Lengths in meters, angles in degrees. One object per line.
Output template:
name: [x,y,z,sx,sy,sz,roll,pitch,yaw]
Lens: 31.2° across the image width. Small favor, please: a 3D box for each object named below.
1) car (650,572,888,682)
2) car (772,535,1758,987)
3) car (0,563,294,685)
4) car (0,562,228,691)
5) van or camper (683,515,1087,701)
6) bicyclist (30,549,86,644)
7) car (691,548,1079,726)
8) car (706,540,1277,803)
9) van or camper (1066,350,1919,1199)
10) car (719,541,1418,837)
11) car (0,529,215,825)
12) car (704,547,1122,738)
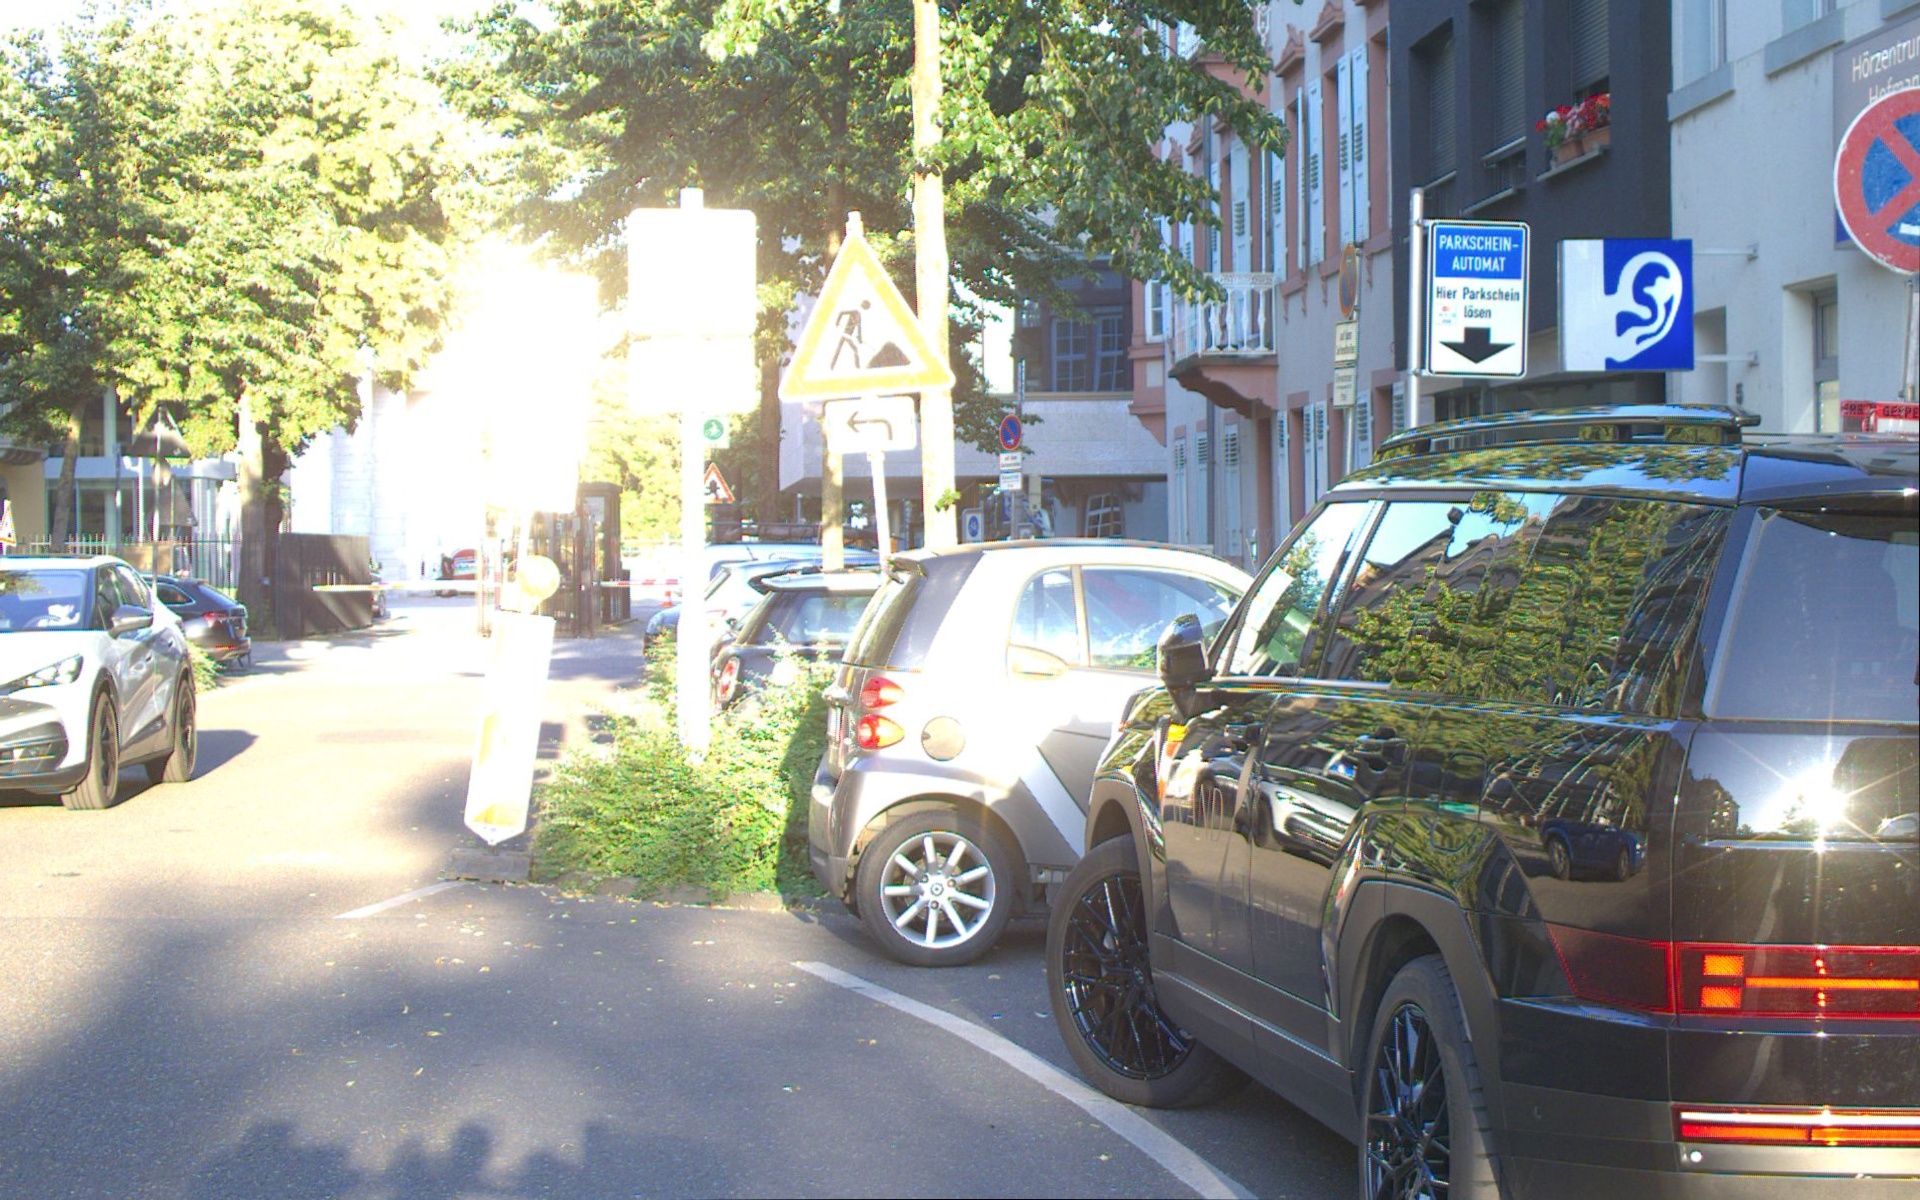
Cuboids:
car: [-2.850,0.381,51.938,1.855,1.563,3.691,1,1,30]
car: [1.115,0.550,13.180,3.469,1.570,1.508,-1,1,-12]
car: [-11.584,0.320,48.567,3.987,1.678,1.891,0,1,-1]
car: [-11.960,0.338,45.867,3.987,1.678,1.891,0,1,-1]
van or camper: [-0.892,0.084,39.023,4.439,1.999,1.859,1,1,-5]
bicyclist: [-15.266,-0.060,58.169,0.762,1.600,0.499,-1,1,-40]
car: [-0.786,0.352,33.947,3.684,1.664,1.859,1,1,-5]
car: [0.150,0.461,23.318,3.684,1.664,1.859,1,1,-5]
van or camper: [1.563,0.497,7.459,1.889,1.801,4.462,0,1,-9]
car: [0.580,0.509,20.755,3.994,1.664,1.859,1,1,-5]
car: [-6.088,0.451,22.041,1.873,1.692,4.322,-3,1,-4]
car: [-0.478,0.373,31.641,3.684,1.664,1.859,1,1,-5]
